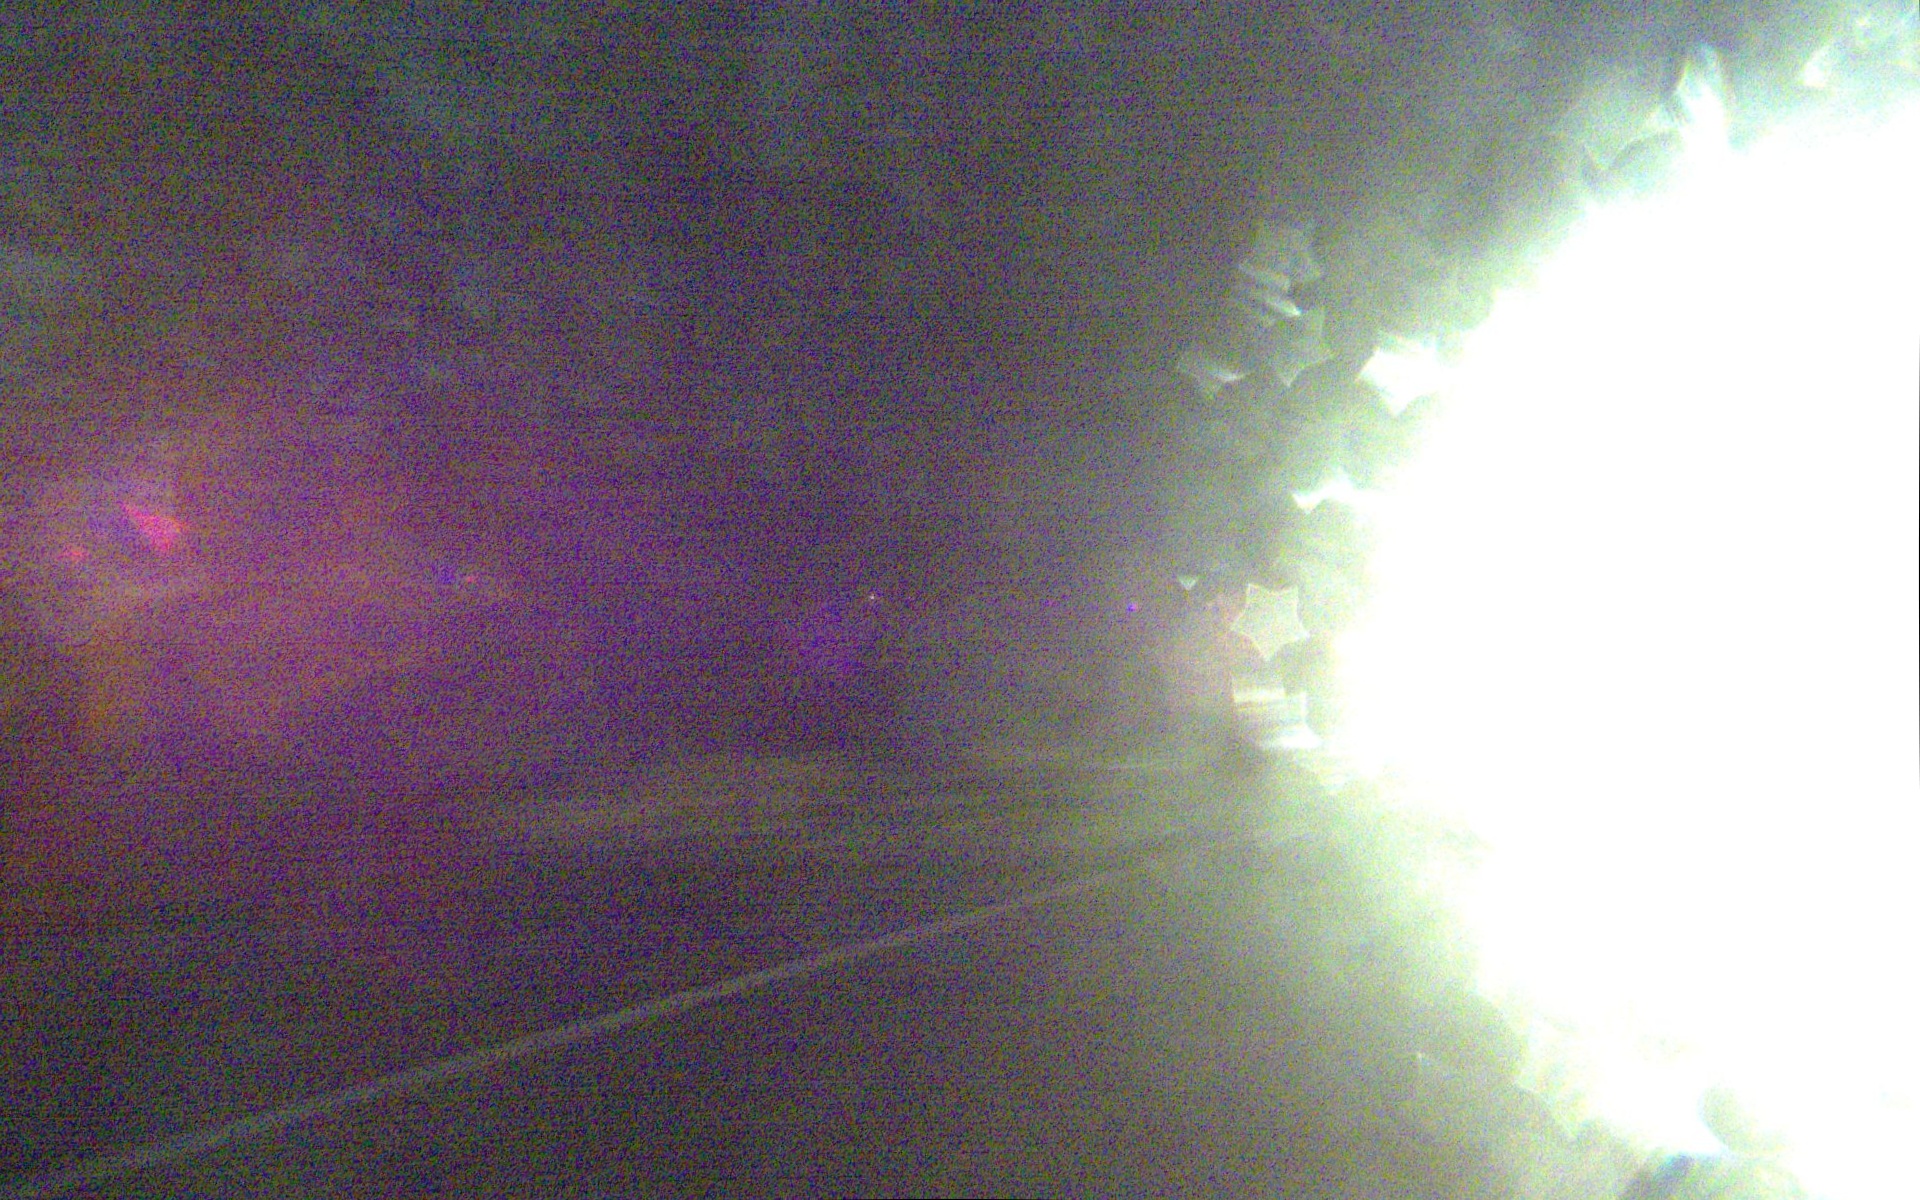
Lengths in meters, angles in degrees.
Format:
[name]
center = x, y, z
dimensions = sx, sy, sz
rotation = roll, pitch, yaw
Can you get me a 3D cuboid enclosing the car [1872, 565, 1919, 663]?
[car]
center = 22.489, 0.323, 23.359
dimensions = 4.387, 2.131, 1.752
rotation = 1, 0, -43
